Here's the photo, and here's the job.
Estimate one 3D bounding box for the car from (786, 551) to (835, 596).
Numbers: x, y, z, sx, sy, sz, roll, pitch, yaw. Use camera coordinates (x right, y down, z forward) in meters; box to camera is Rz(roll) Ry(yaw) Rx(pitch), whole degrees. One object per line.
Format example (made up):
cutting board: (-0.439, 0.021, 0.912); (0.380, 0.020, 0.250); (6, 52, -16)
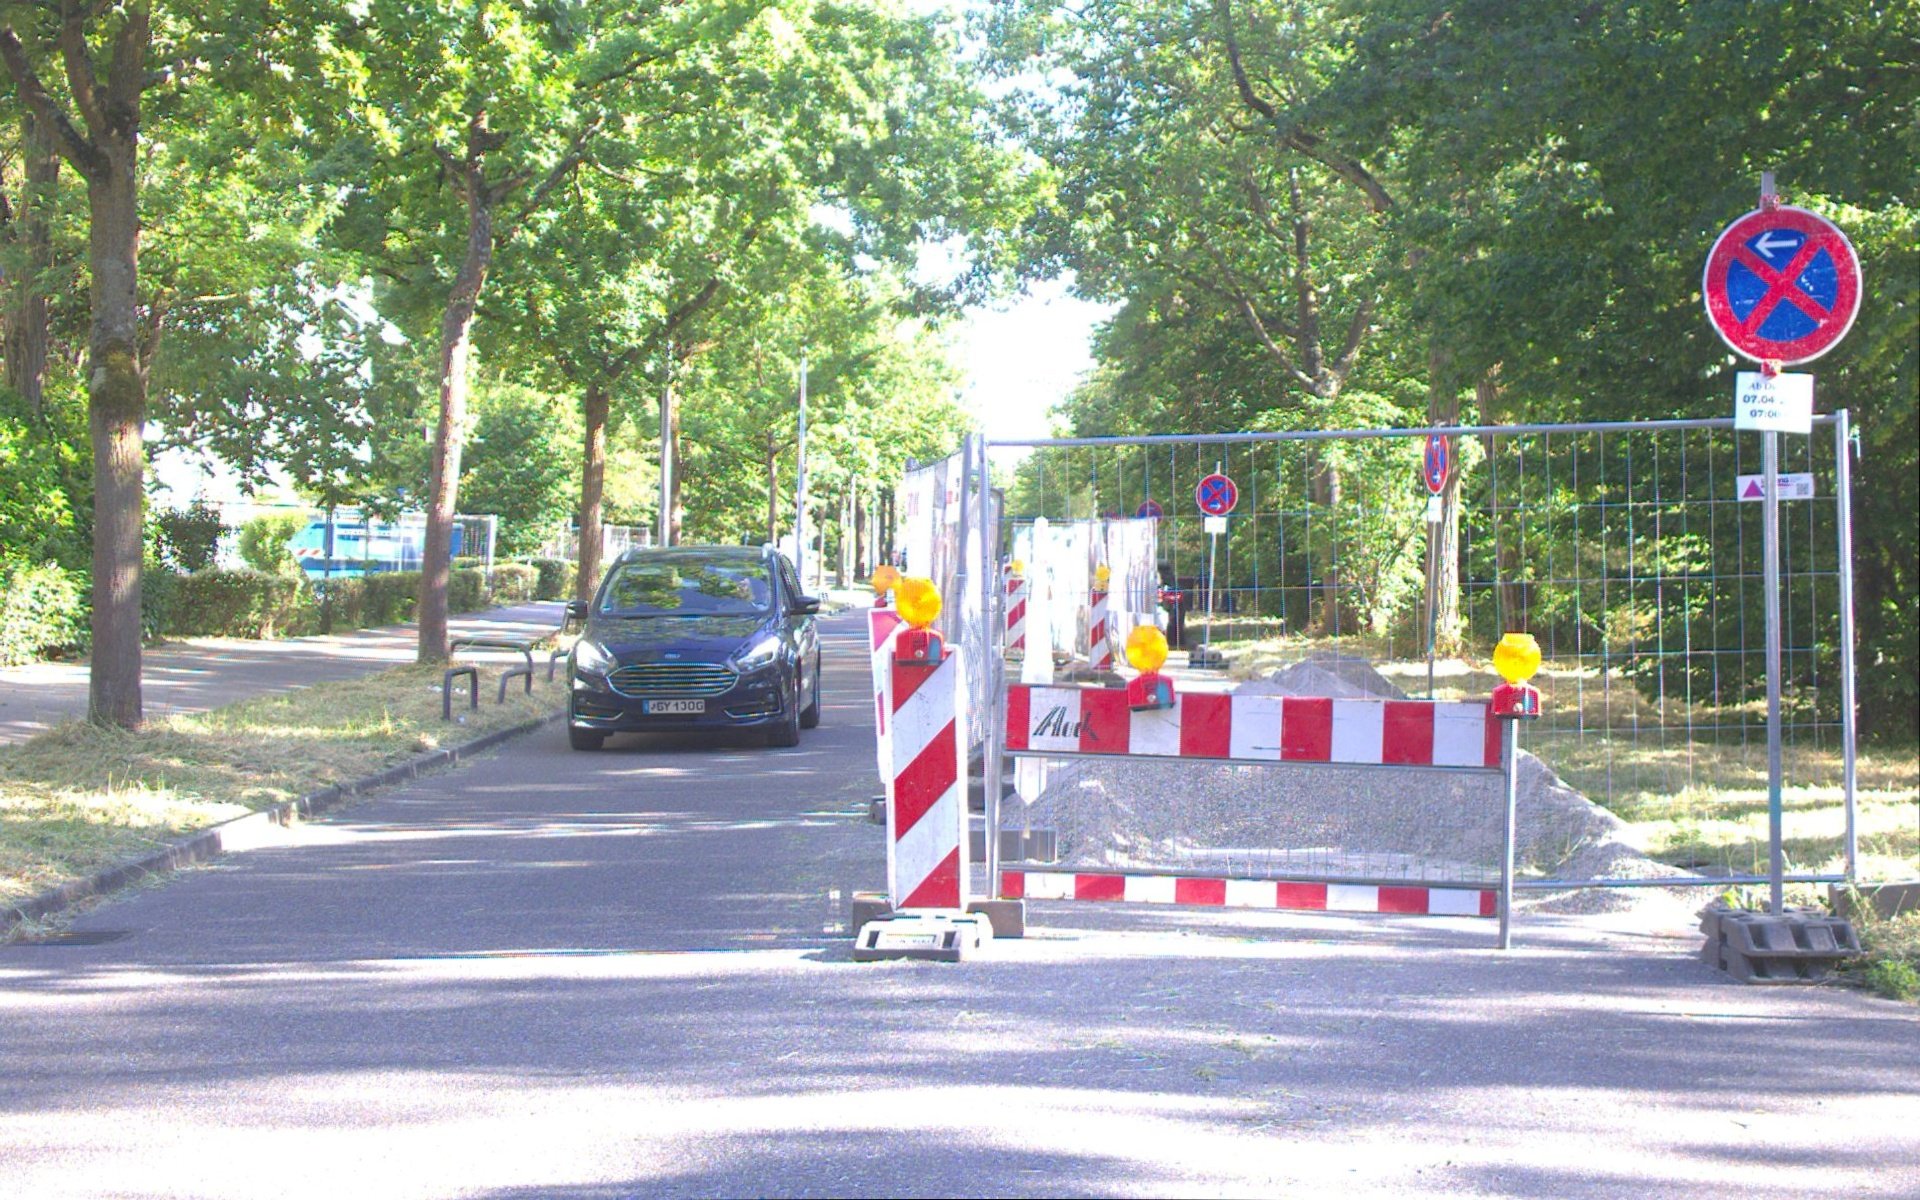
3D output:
car: (-4.476, -0.786, 103.237); (1.361, 1.298, 3.481); (2, 0, -2)

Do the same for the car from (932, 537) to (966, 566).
car: (-0.631, -2.741, 195.685); (1.710, 1.579, 4.000); (2, 0, -3)

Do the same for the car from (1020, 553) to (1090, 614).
car: (2.130, -0.375, 77.608); (1.361, 1.298, 3.481); (2, 0, -2)

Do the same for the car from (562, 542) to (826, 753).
car: (-2.169, 0.336, 29.121); (1.821, 1.619, 4.492); (-1, 1, 1)

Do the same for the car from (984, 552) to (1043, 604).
car: (1.388, -0.561, 90.588); (1.361, 1.298, 3.481); (2, 0, -2)
